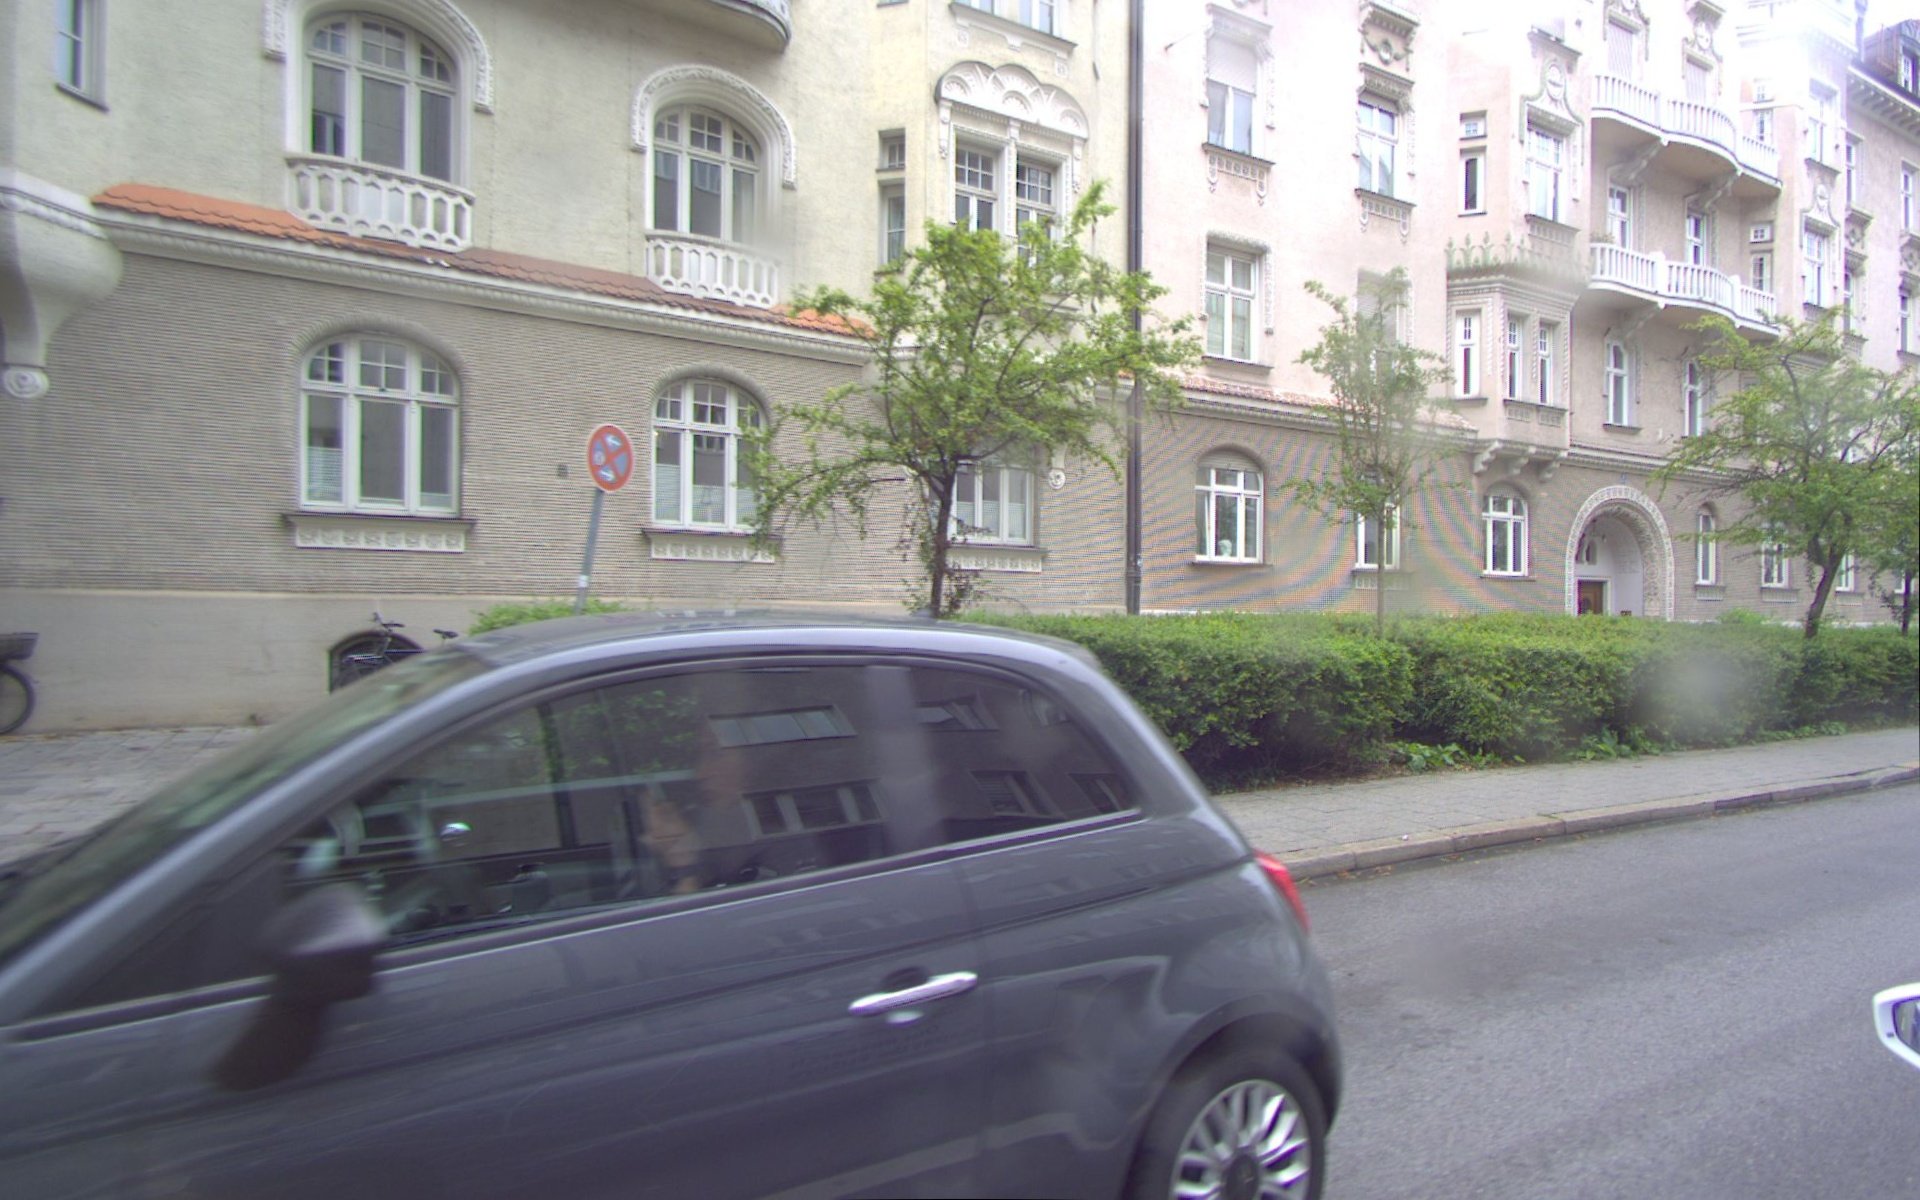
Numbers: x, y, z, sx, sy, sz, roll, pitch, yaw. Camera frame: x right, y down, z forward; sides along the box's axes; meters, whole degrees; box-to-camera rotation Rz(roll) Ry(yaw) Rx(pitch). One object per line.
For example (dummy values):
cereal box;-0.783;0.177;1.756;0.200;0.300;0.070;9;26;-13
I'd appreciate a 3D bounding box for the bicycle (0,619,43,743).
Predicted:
bicycle;-9.880;0.759;9.395;1.814;1.178;0.614;1;-1;-32

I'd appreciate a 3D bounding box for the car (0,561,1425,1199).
car;-0.891;0.734;2.124;3.738;1.499;1.577;1;-2;-30

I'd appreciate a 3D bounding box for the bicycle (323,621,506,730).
bicycle;-6.295;0.844;11.655;1.814;1.178;0.614;1;-1;-32
